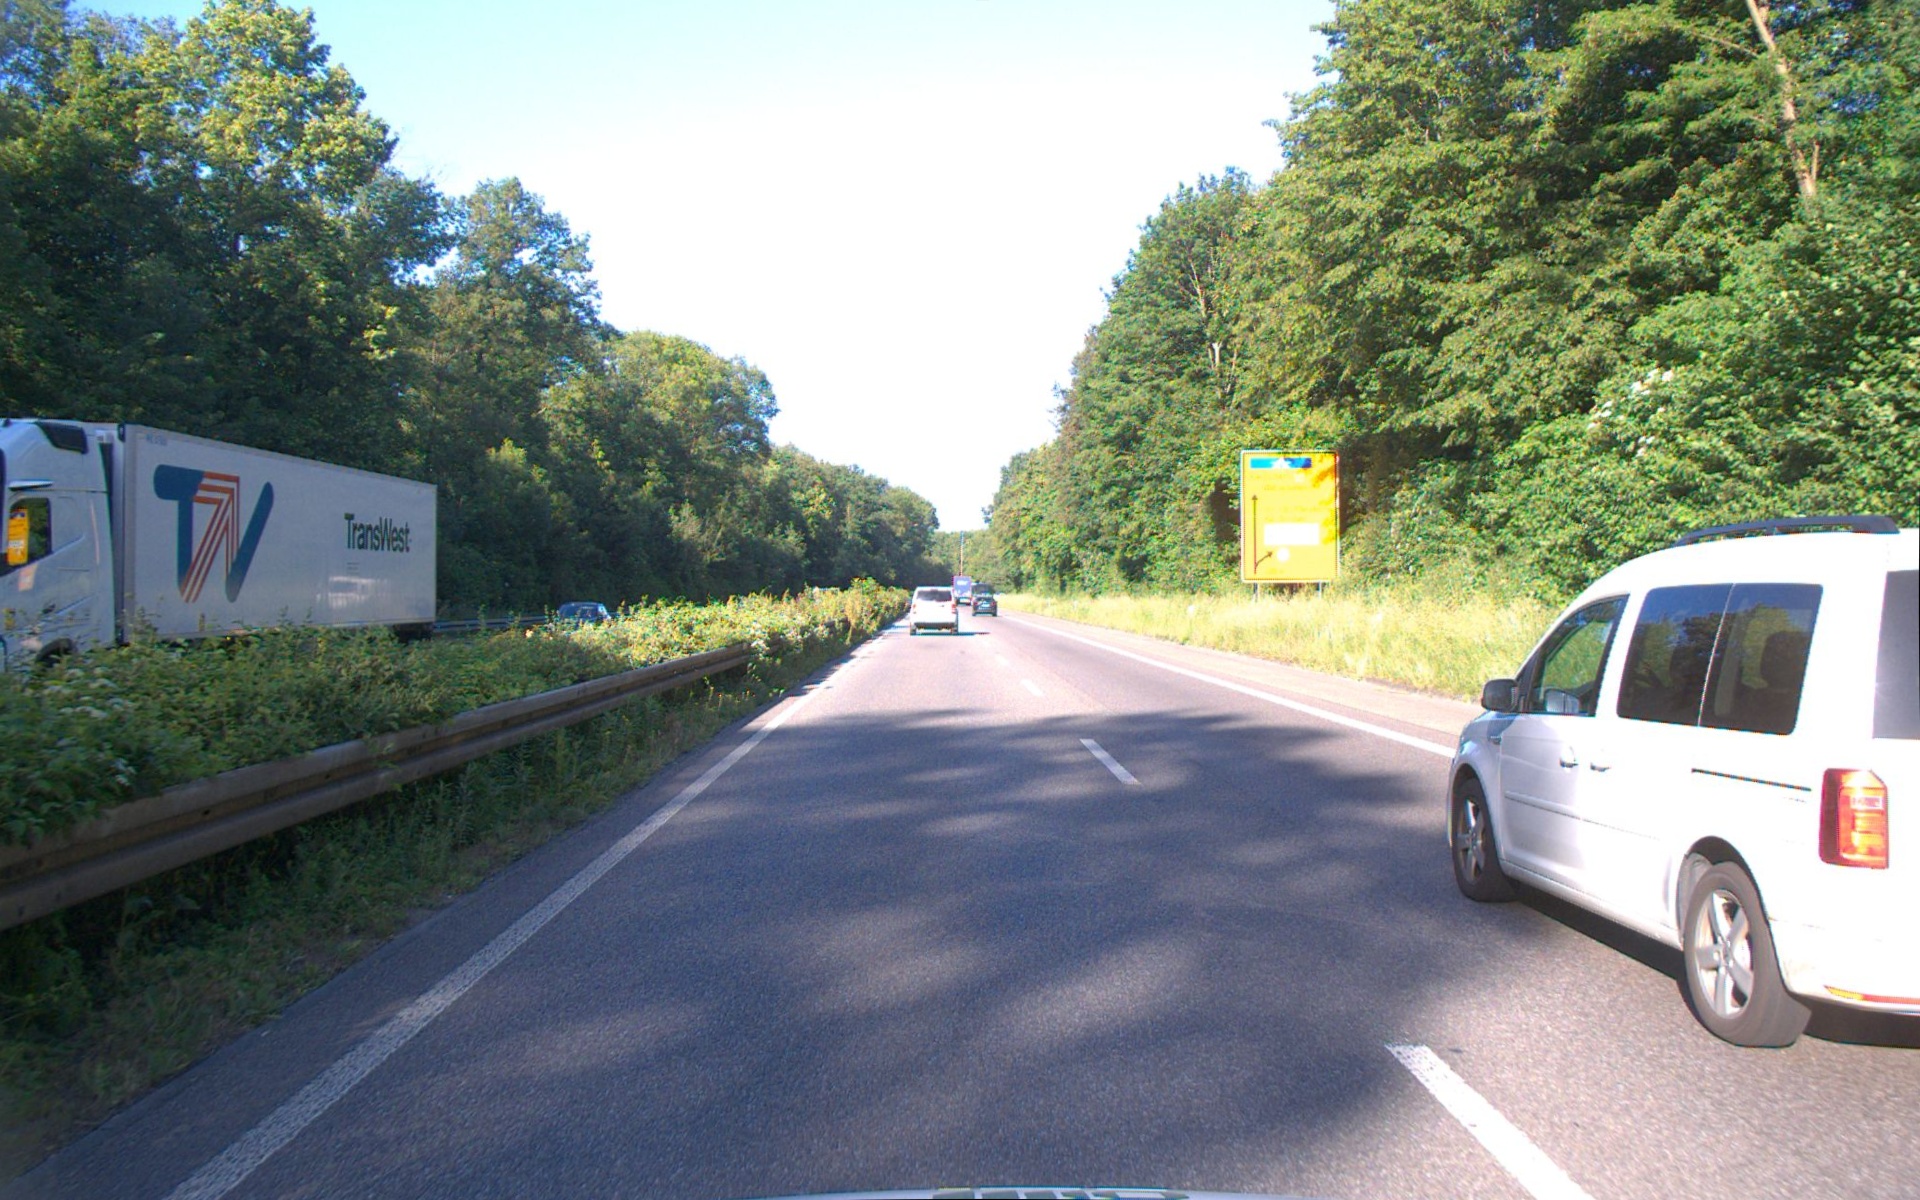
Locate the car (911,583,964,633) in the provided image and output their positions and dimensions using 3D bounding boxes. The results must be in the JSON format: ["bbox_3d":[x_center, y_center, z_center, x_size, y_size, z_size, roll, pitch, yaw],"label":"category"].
[{"bbox_3d":[-0.879,0.304,62.807,1.912,1.813,4.586,1,0,-1],"label":"car"}]

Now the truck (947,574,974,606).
[{"bbox_3d":[0.064,-1.326,233.059,3.658,4.419,9.302,1,0,-1],"label":"truck"}]

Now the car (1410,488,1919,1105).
[{"bbox_3d":[3.534,0.610,7.276,1.762,1.844,4.586,1,0,-1],"label":"car"}]

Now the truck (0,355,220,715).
[{"bbox_3d":[-12.479,-0.772,21.515,3.163,4.083,5.675,1,0,-1],"label":"truck"}]

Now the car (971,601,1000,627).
[{"bbox_3d":[1.876,1.002,121.120,1.912,1.813,4.586,1,0,-1],"label":"car"}]

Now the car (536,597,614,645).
[{"bbox_3d":[-12.702,0.690,54.734,1.727,1.499,3.791,1,0,-1],"label":"car"}]

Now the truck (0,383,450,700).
[{"bbox_3d":[-12.585,-0.806,28.663,3.177,4.083,14.448,1,0,-1],"label":"truck"}]
